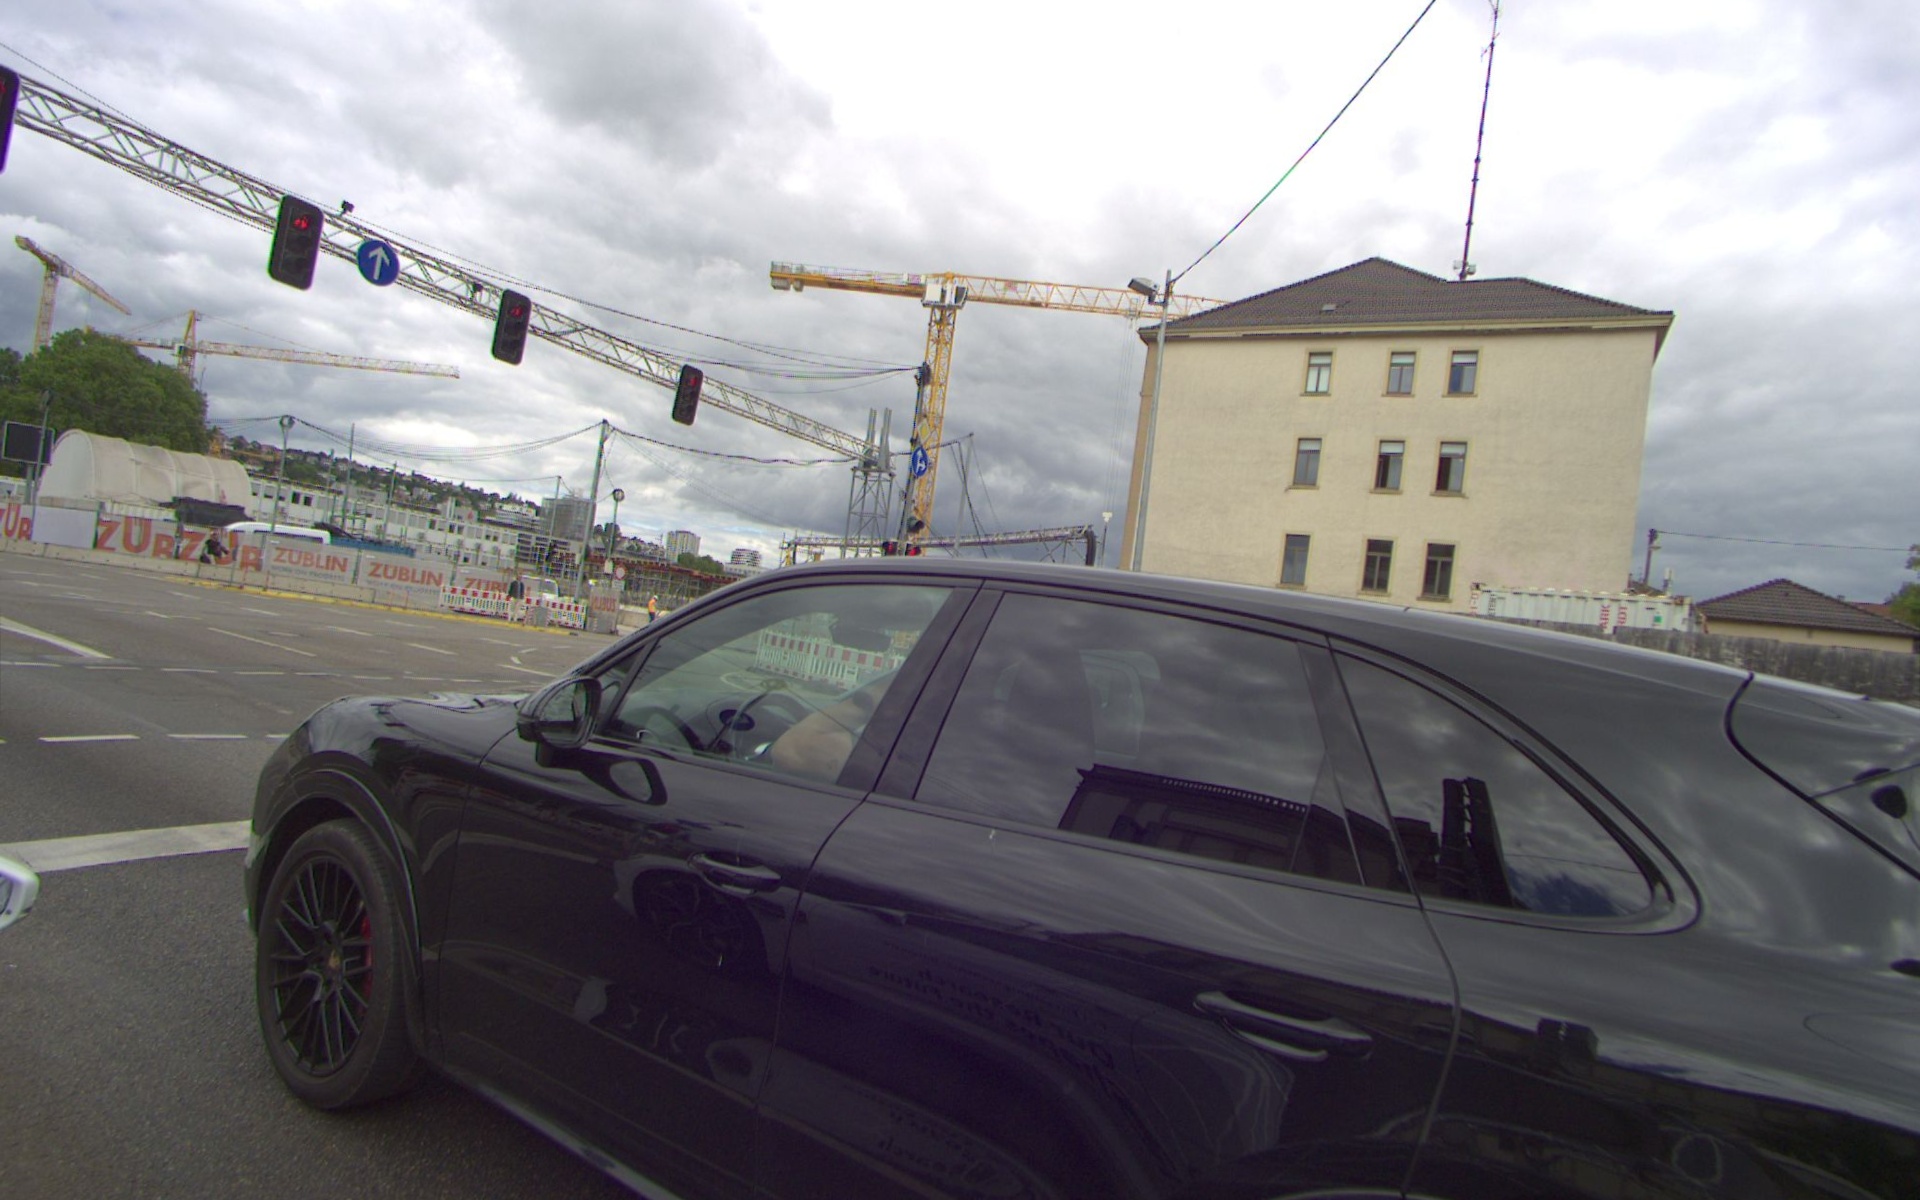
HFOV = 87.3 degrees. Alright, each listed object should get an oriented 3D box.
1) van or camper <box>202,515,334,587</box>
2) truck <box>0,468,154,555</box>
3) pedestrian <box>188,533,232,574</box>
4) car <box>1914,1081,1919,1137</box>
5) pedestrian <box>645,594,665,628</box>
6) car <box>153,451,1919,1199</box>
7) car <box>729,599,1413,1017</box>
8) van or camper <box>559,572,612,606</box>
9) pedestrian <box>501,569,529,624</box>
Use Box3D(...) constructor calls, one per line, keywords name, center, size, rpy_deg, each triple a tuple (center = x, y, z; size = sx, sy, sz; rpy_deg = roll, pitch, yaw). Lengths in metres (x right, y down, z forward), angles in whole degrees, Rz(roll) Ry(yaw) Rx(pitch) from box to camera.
Box3D(name="van or camper", center=(-29.810, -2.072, 43.409), size=(4.204, 2.384, 1.976), rpy_deg=(10, -3, -44))
Box3D(name="truck", center=(-57.899, -5.795, 61.925), size=(3.875, 4.086, 13.089), rpy_deg=(8, -2, 12))
Box3D(name="pedestrian", center=(-28.575, -1.770, 38.341), size=(0.888, 1.393, 0.799), rpy_deg=(8, -1, -1))
Box3D(name="car", center=(5.838, 1.727, 2.544), size=(4.579, 1.589, 1.825), rpy_deg=(6, -2, 34))
Box3D(name="pedestrian", center=(-16.328, 0.603, 53.852), size=(0.508, 1.737, 0.654), rpy_deg=(7, -1, 21))
Box3D(name="car", center=(0.041, 0.721, 2.697), size=(4.559, 1.705, 1.959), rpy_deg=(7, -2, 33))
Box3D(name="car", center=(0.596, 1.049, 6.373), size=(3.818, 1.561, 1.667), rpy_deg=(7, -2, 33))
Box3D(name="van or camper", center=(-39.239, -1.100, 105.478), size=(1.963, 2.945, 5.304), rpy_deg=(7, -2, 20))
Box3D(name="pedestrian", center=(-17.238, -0.130, 38.972), size=(0.647, 2.037, 0.513), rpy_deg=(8, -1, -33))
